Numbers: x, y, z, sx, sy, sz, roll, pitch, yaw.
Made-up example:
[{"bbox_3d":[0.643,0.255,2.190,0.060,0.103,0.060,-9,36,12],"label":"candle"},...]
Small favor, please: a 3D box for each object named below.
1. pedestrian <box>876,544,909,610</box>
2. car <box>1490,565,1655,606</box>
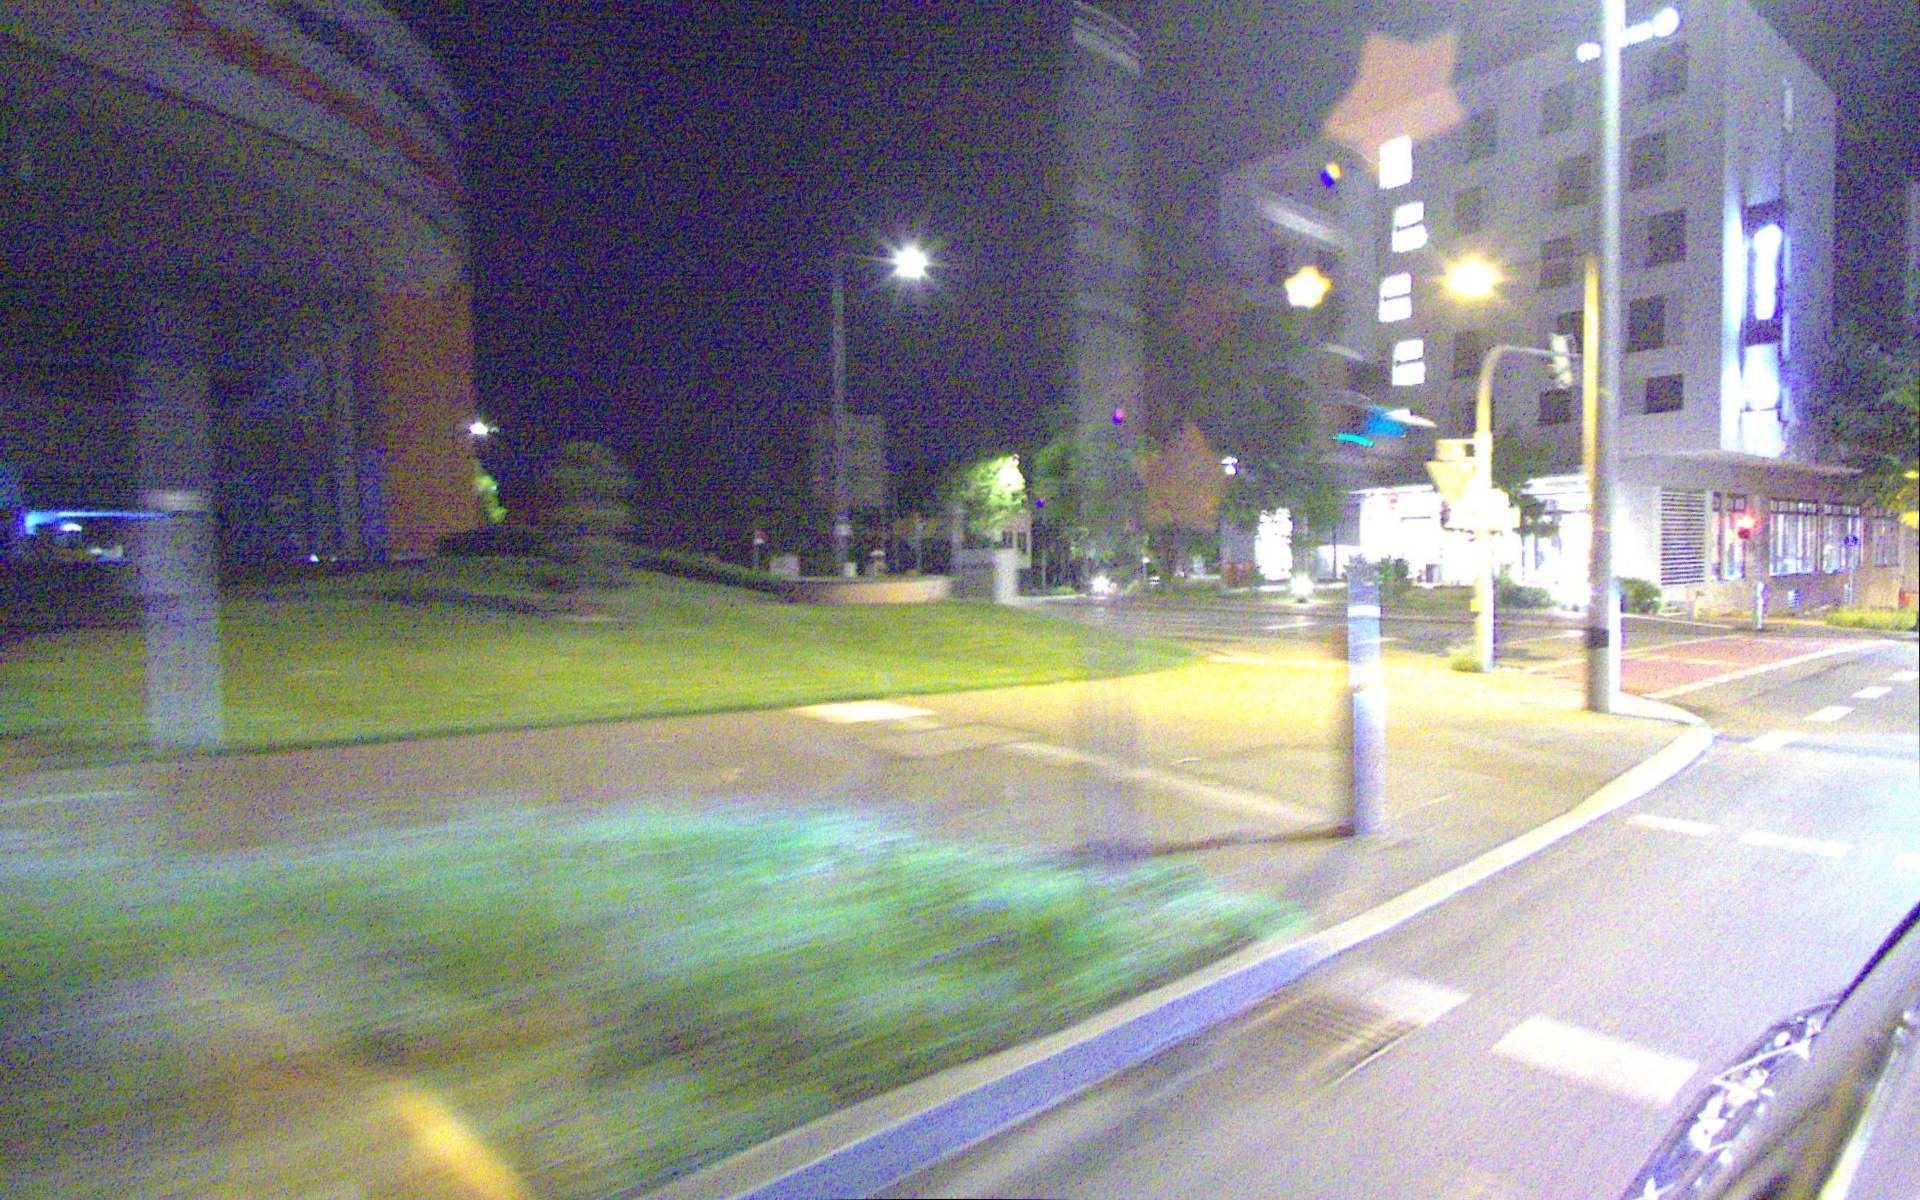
[{"bbox_3d":[-1.974,-0.664,29.745,0.719,1.900,0.663,0,1,-42],"label":"pedestrian"},{"bbox_3d":[18.414,-0.448,30.576,3.935,1.047,1.480,2,1,10],"label":"car"}]
